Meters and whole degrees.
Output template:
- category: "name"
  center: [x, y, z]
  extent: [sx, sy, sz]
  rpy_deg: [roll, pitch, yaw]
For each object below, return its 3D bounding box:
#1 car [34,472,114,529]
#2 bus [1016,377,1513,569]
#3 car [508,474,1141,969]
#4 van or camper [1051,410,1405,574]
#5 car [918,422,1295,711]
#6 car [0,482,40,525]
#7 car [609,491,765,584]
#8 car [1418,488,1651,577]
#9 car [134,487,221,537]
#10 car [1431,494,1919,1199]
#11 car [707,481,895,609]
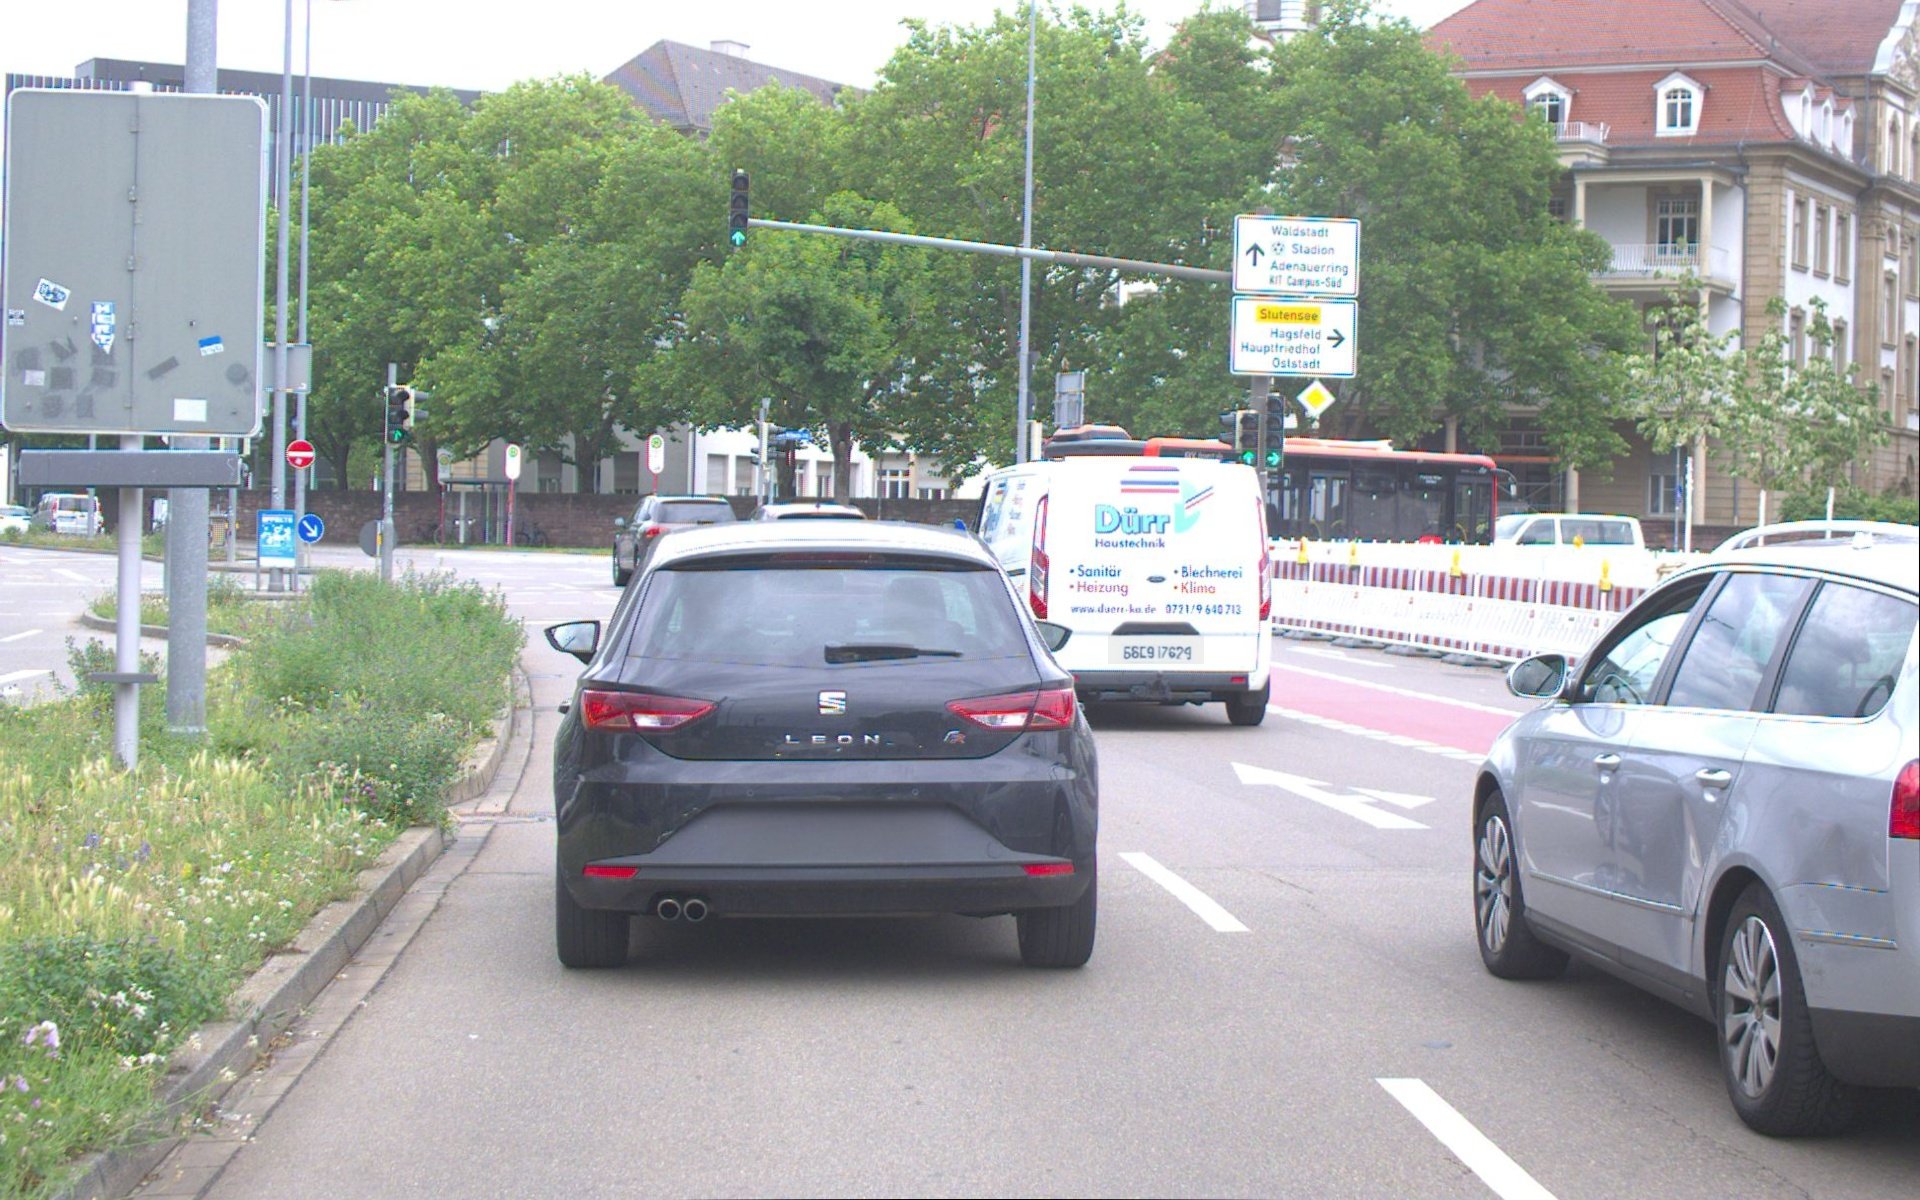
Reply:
- category: "car"
  center: [-32.432, -3.649, 125.760]
  extent: [1.993, 2.007, 4.001]
  rpy_deg: [1, 2, -27]
- category: "bus"
  center: [6.173, -2.348, 66.613]
  extent: [3.065, 3.286, 12.350]
  rpy_deg: [3, 2, 39]
- category: "car"
  center: [-0.651, 0.328, 12.226]
  extent: [1.745, 1.459, 4.001]
  rpy_deg: [1, 1, -9]
- category: "van or camper"
  center: [5.797, -2.267, 74.212]
  extent: [7.128, 3.321, 2.877]
  rpy_deg: [0, 0, -27]
- category: "car"
  center: [1.014, -0.303, 26.881]
  extent: [1.993, 2.012, 5.033]
  rpy_deg: [1, 1, -8]
- category: "car"
  center: [-37.950, -3.840, 136.149]
  extent: [1.993, 1.634, 4.001]
  rpy_deg: [1, 2, -29]
- category: "car"
  center: [-4.892, -1.135, 61.080]
  extent: [1.993, 1.560, 4.206]
  rpy_deg: [1, 2, -15]
- category: "car"
  center: [13.016, -1.500, 77.848]
  extent: [4.987, 1.858, 2.000]
  rpy_deg: [1, -2, -27]
- category: "car"
  center: [-27.519, -3.100, 120.831]
  extent: [1.917, 1.678, 4.001]
  rpy_deg: [1, 2, -28]
- category: "car"
  center: [2.631, 0.454, 9.536]
  extent: [1.720, 1.477, 4.629]
  rpy_deg: [0, 2, -4]
- category: "car"
  center: [-2.167, -0.757, 45.753]
  extent: [1.857, 1.594, 4.206]
  rpy_deg: [1, 2, -11]
